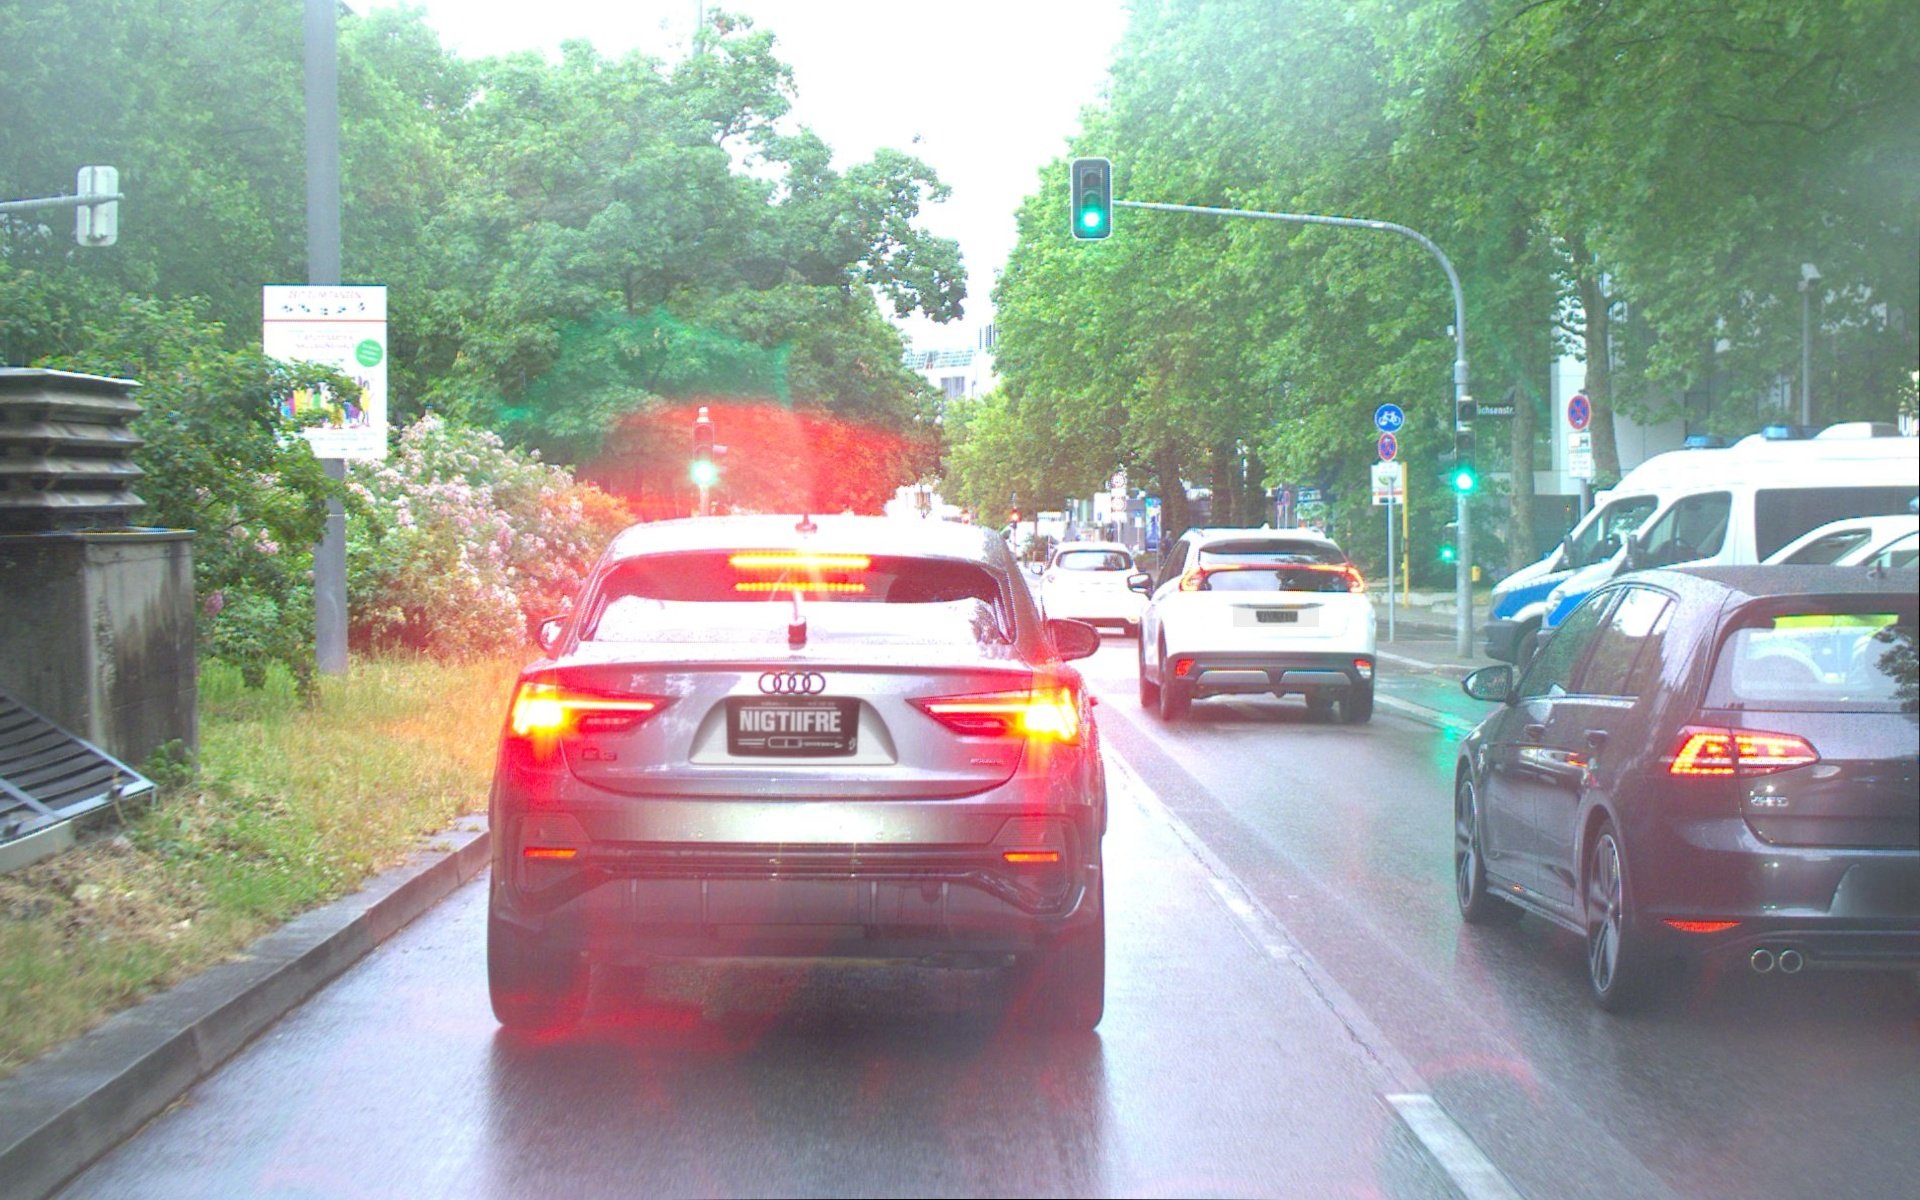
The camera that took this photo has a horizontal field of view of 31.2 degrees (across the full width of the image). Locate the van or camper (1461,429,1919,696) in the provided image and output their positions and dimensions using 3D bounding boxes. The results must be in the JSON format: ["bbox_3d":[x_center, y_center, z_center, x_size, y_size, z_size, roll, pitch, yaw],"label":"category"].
[{"bbox_3d":[8.429,-0.425,36.528,5.810,2.668,2.143,1,1,37],"label":"van or camper"}]

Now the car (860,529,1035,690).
[{"bbox_3d":[-0.146,0.055,35.737,1.721,1.572,3.962,0,1,-1],"label":"car"}]

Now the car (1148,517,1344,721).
[{"bbox_3d":[2.445,0.121,29.889,1.433,1.679,2.979,0,1,0],"label":"car"}]

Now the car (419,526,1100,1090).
[{"bbox_3d":[-0.520,0.522,11.686,1.863,1.527,4.527,0,1,1],"label":"car"}]

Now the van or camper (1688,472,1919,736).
[{"bbox_3d":[8.441,0.060,26.308,5.203,1.985,1.996,2,1,34],"label":"van or camper"}]

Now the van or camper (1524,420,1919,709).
[{"bbox_3d":[8.534,-0.360,33.199,5.805,2.671,1.996,1,1,35],"label":"van or camper"}]

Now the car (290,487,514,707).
[{"bbox_3d":[-3.707,-0.052,23.104,1.050,1.383,2.694,0,1,0],"label":"car"}]

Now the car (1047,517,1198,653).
[{"bbox_3d":[2.138,-0.241,46.211,1.822,1.744,4.000,0,1,0],"label":"car"}]

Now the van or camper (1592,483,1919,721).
[{"bbox_3d":[8.270,0.016,30.066,5.011,2.007,1.996,0,0,35],"label":"van or camper"}]

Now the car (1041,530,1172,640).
[{"bbox_3d":[2.391,-0.275,57.112,1.993,1.744,4.000,0,1,0],"label":"car"}]

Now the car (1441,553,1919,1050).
[{"bbox_3d":[2.882,0.565,12.100,1.765,1.408,4.000,0,1,-1],"label":"car"}]
